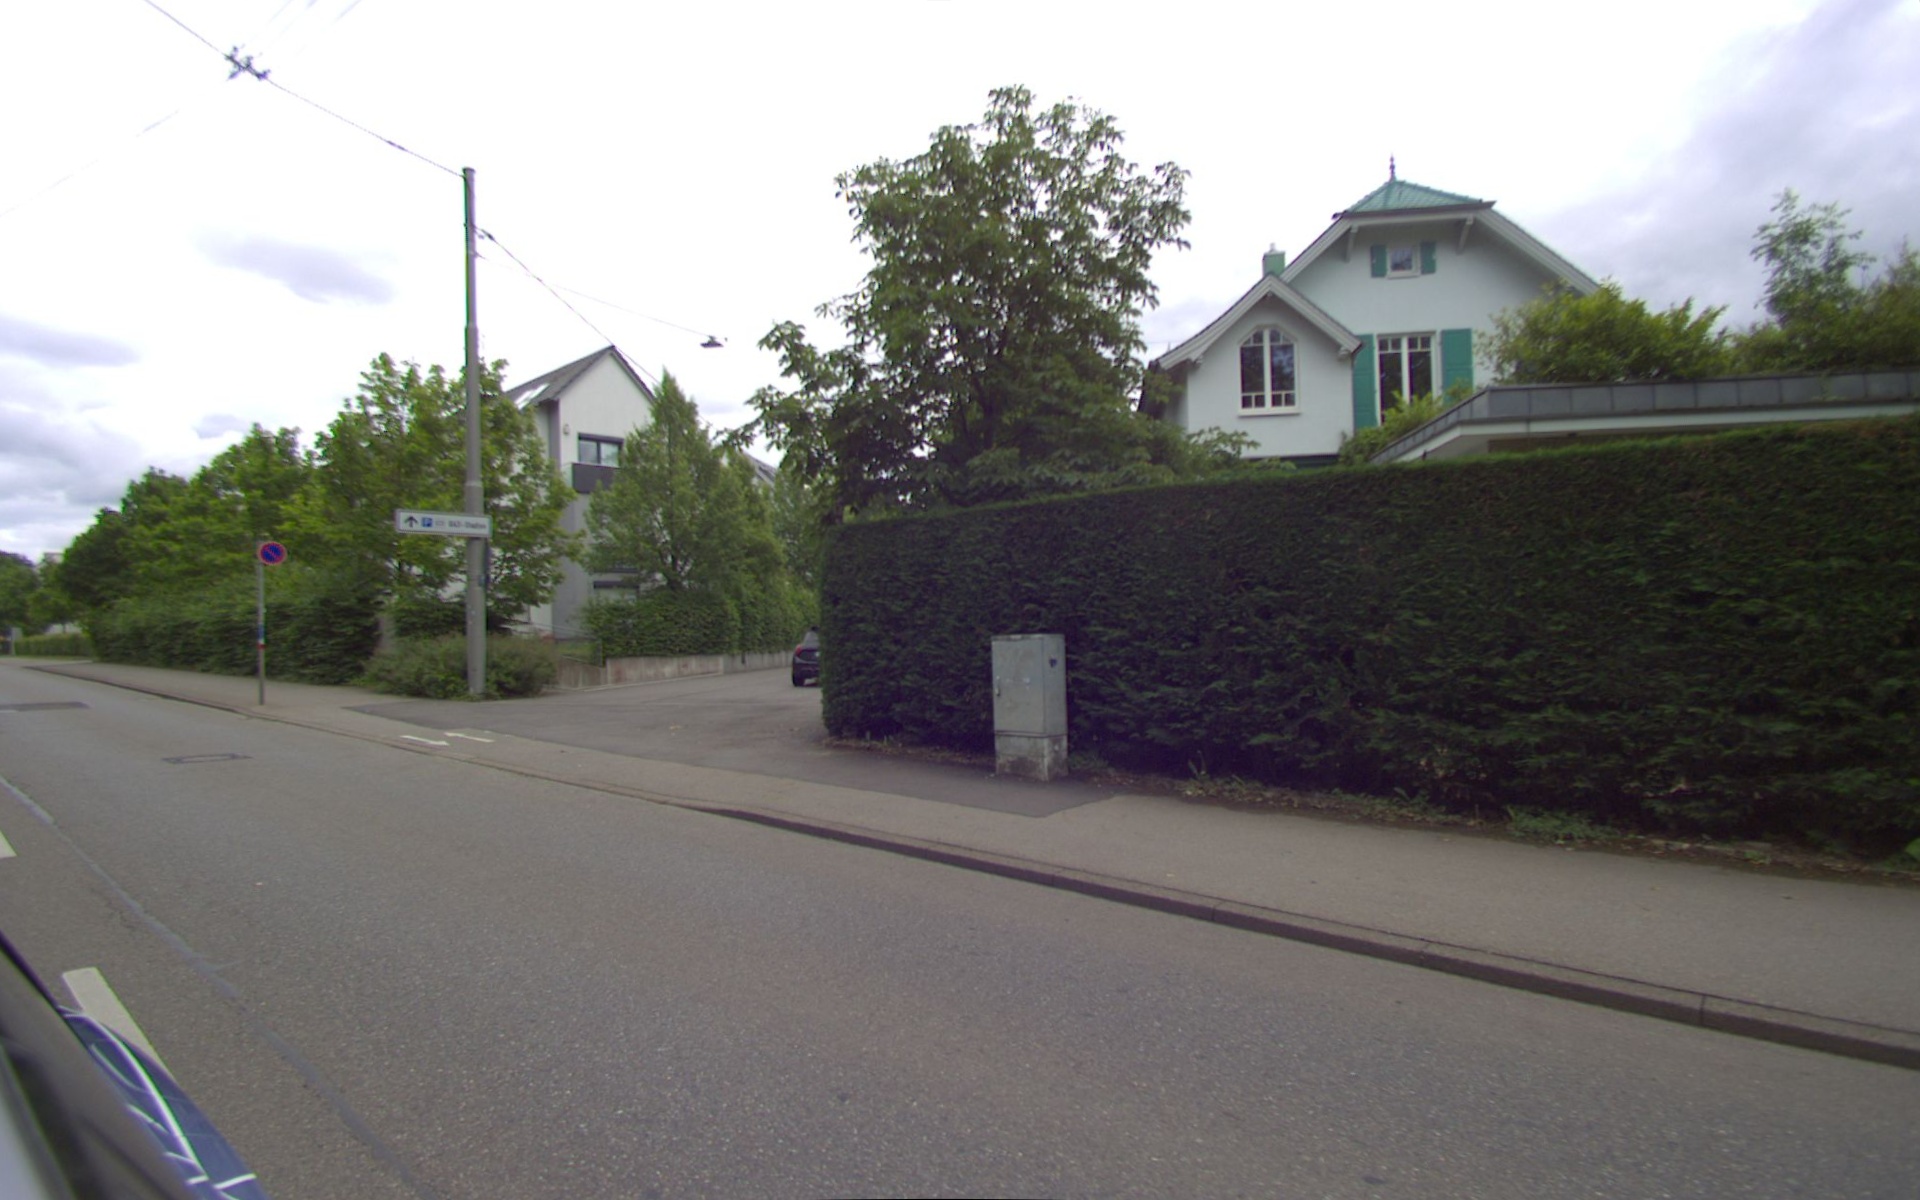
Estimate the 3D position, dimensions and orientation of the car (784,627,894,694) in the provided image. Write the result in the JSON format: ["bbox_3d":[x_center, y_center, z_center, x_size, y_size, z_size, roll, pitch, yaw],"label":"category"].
[{"bbox_3d":[-2.833,1.402,24.460,1.786,1.431,3.992,-1,-1,6],"label":"car"}]

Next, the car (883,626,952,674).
[{"bbox_3d":[-1.416,1.682,34.881,1.786,1.534,3.992,-1,-1,6],"label":"car"}]

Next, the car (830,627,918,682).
[{"bbox_3d":[-2.377,1.514,28.897,1.786,1.431,3.992,-1,-1,6],"label":"car"}]
